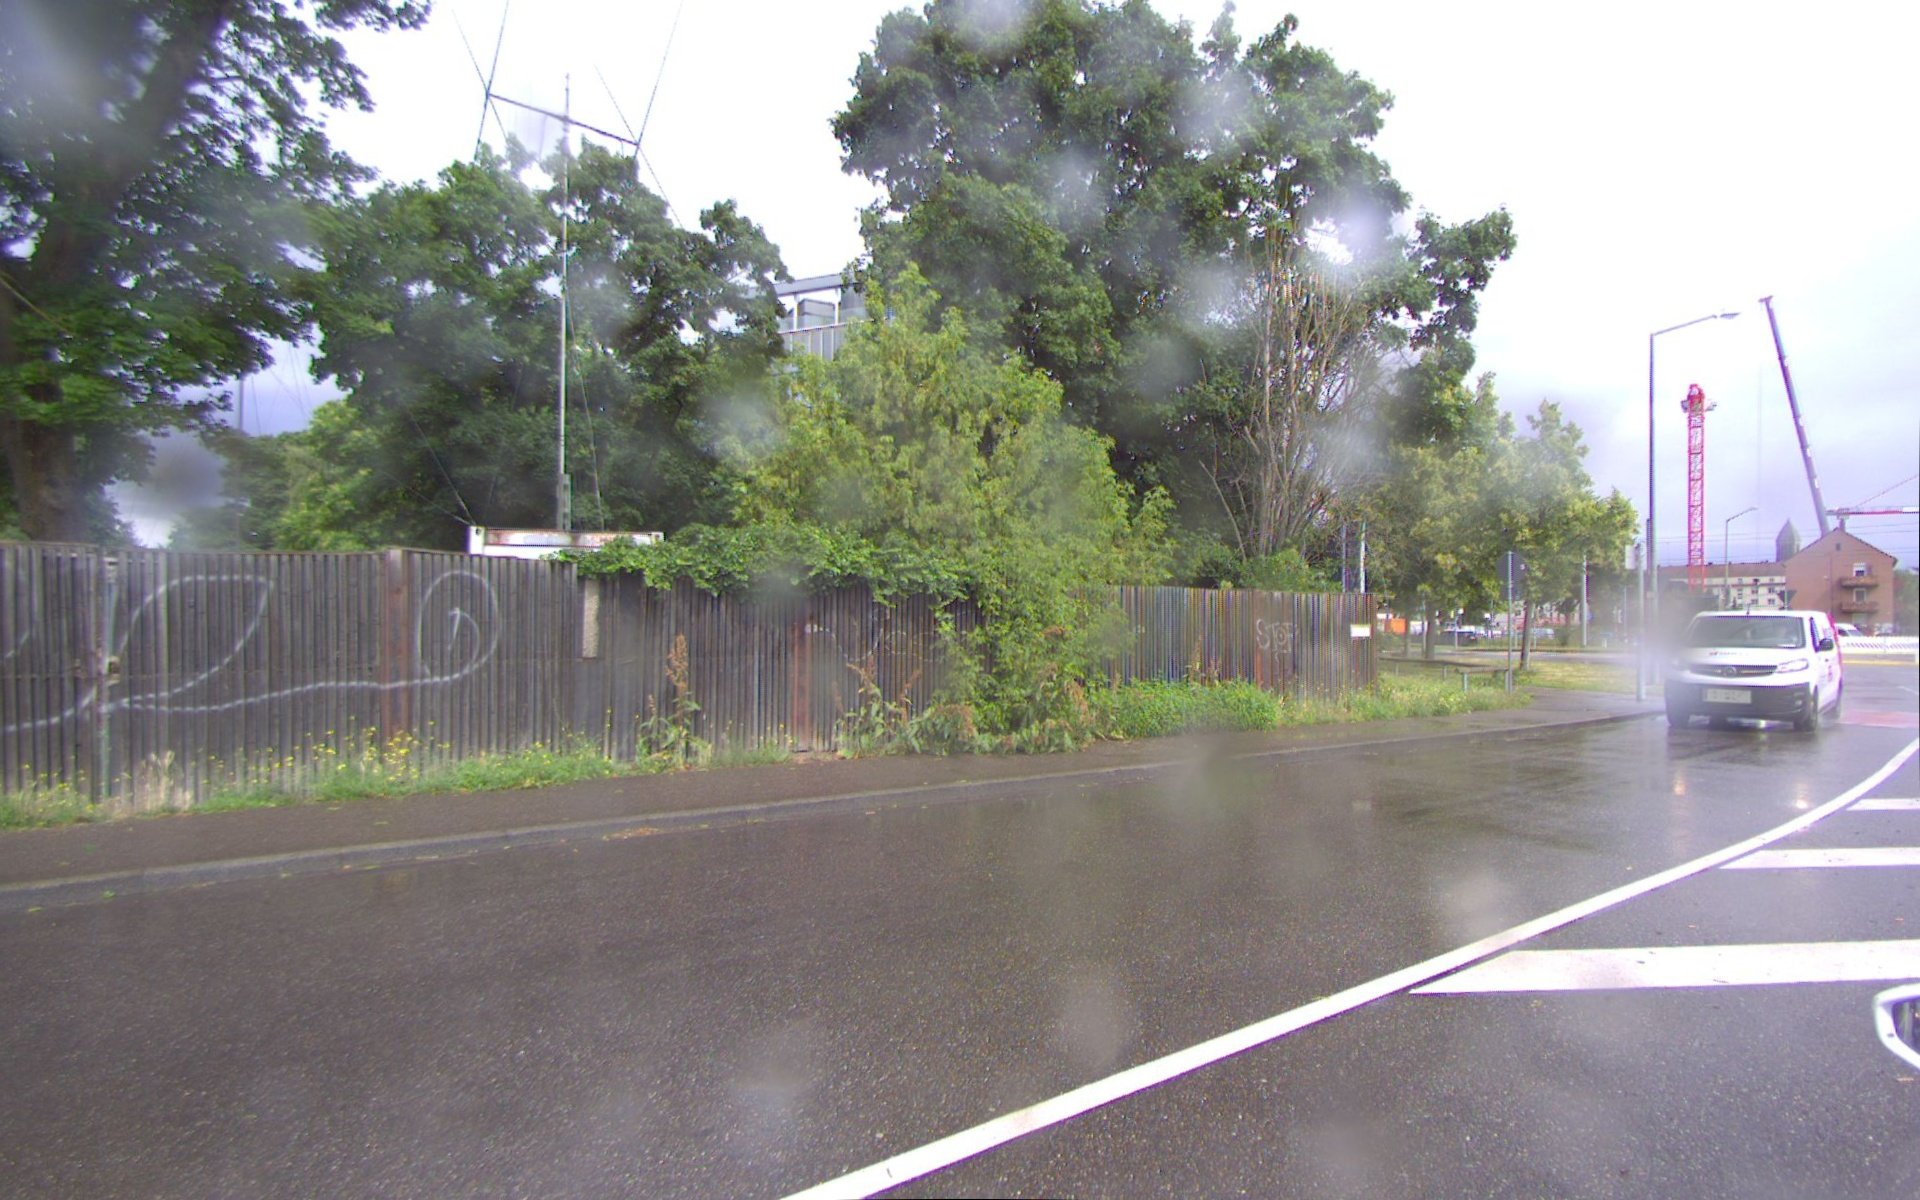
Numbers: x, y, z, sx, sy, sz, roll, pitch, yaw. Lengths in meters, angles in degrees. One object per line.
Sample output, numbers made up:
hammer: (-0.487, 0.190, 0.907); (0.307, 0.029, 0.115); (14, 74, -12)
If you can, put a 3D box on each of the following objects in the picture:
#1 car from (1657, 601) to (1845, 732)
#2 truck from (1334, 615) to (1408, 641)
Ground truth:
car: (13.553, 1.035, 17.080); (5.098, 1.901, 1.869); (2, -2, -44)
truck: (39.307, 2.664, 96.266); (2.402, 2.475, 6.679); (1, -1, -27)
